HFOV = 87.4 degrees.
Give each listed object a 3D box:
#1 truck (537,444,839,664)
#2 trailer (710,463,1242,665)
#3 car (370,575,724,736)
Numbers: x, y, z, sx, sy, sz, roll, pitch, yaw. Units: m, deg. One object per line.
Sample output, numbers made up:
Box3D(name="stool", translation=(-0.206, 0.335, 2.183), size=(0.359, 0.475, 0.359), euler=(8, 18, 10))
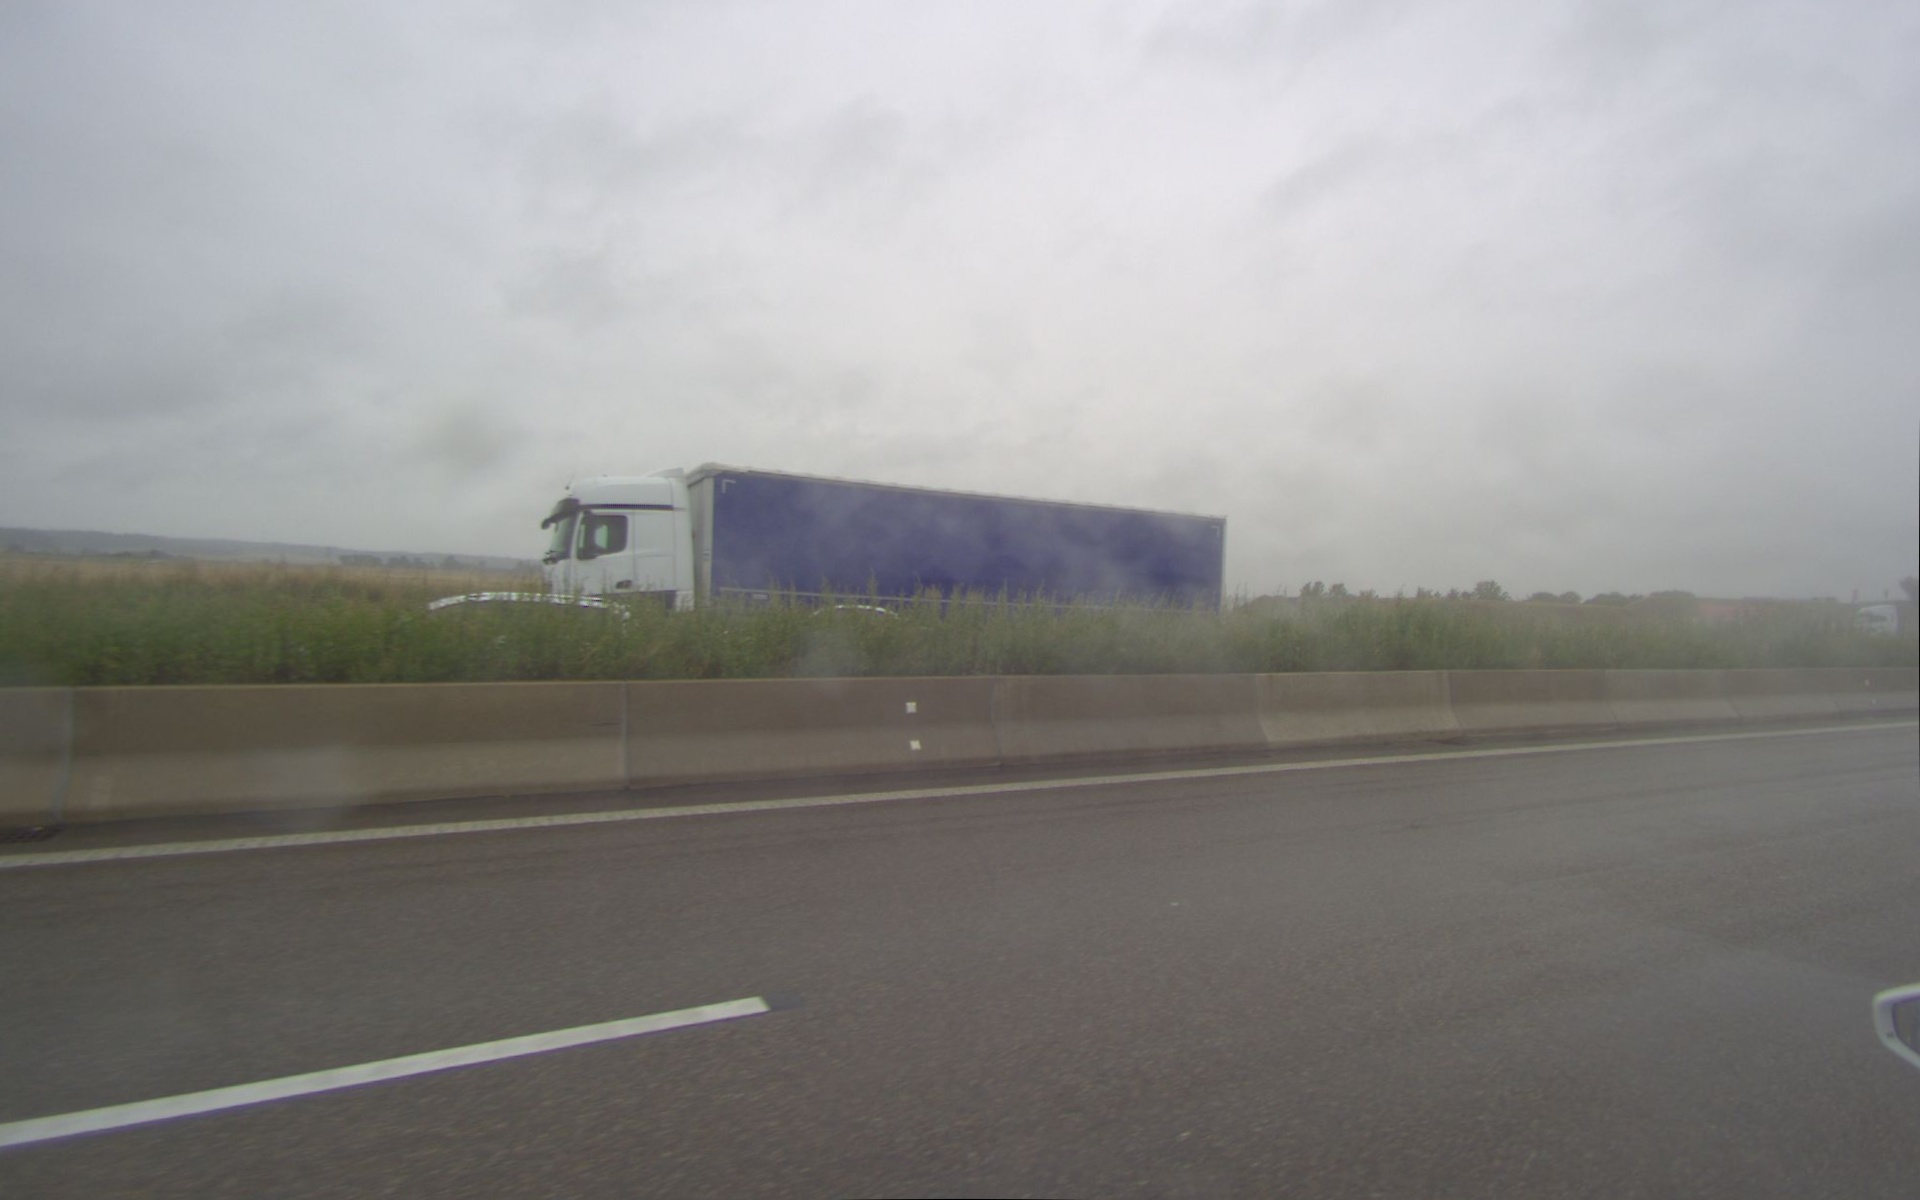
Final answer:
Box3D(name="truck", translation=(-5.542, -0.747, 20.594), size=(5.539, 3.978, 2.476), euler=(2, -1, -28))
Box3D(name="trailer", translation=(0.962, -0.512, 24.142), size=(13.326, 3.991, 2.426), euler=(2, -1, -29))
Box3D(name="car", translation=(-5.242, 0.675, 12.904), size=(3.953, 1.773, 1.811), euler=(2, -1, -30))
